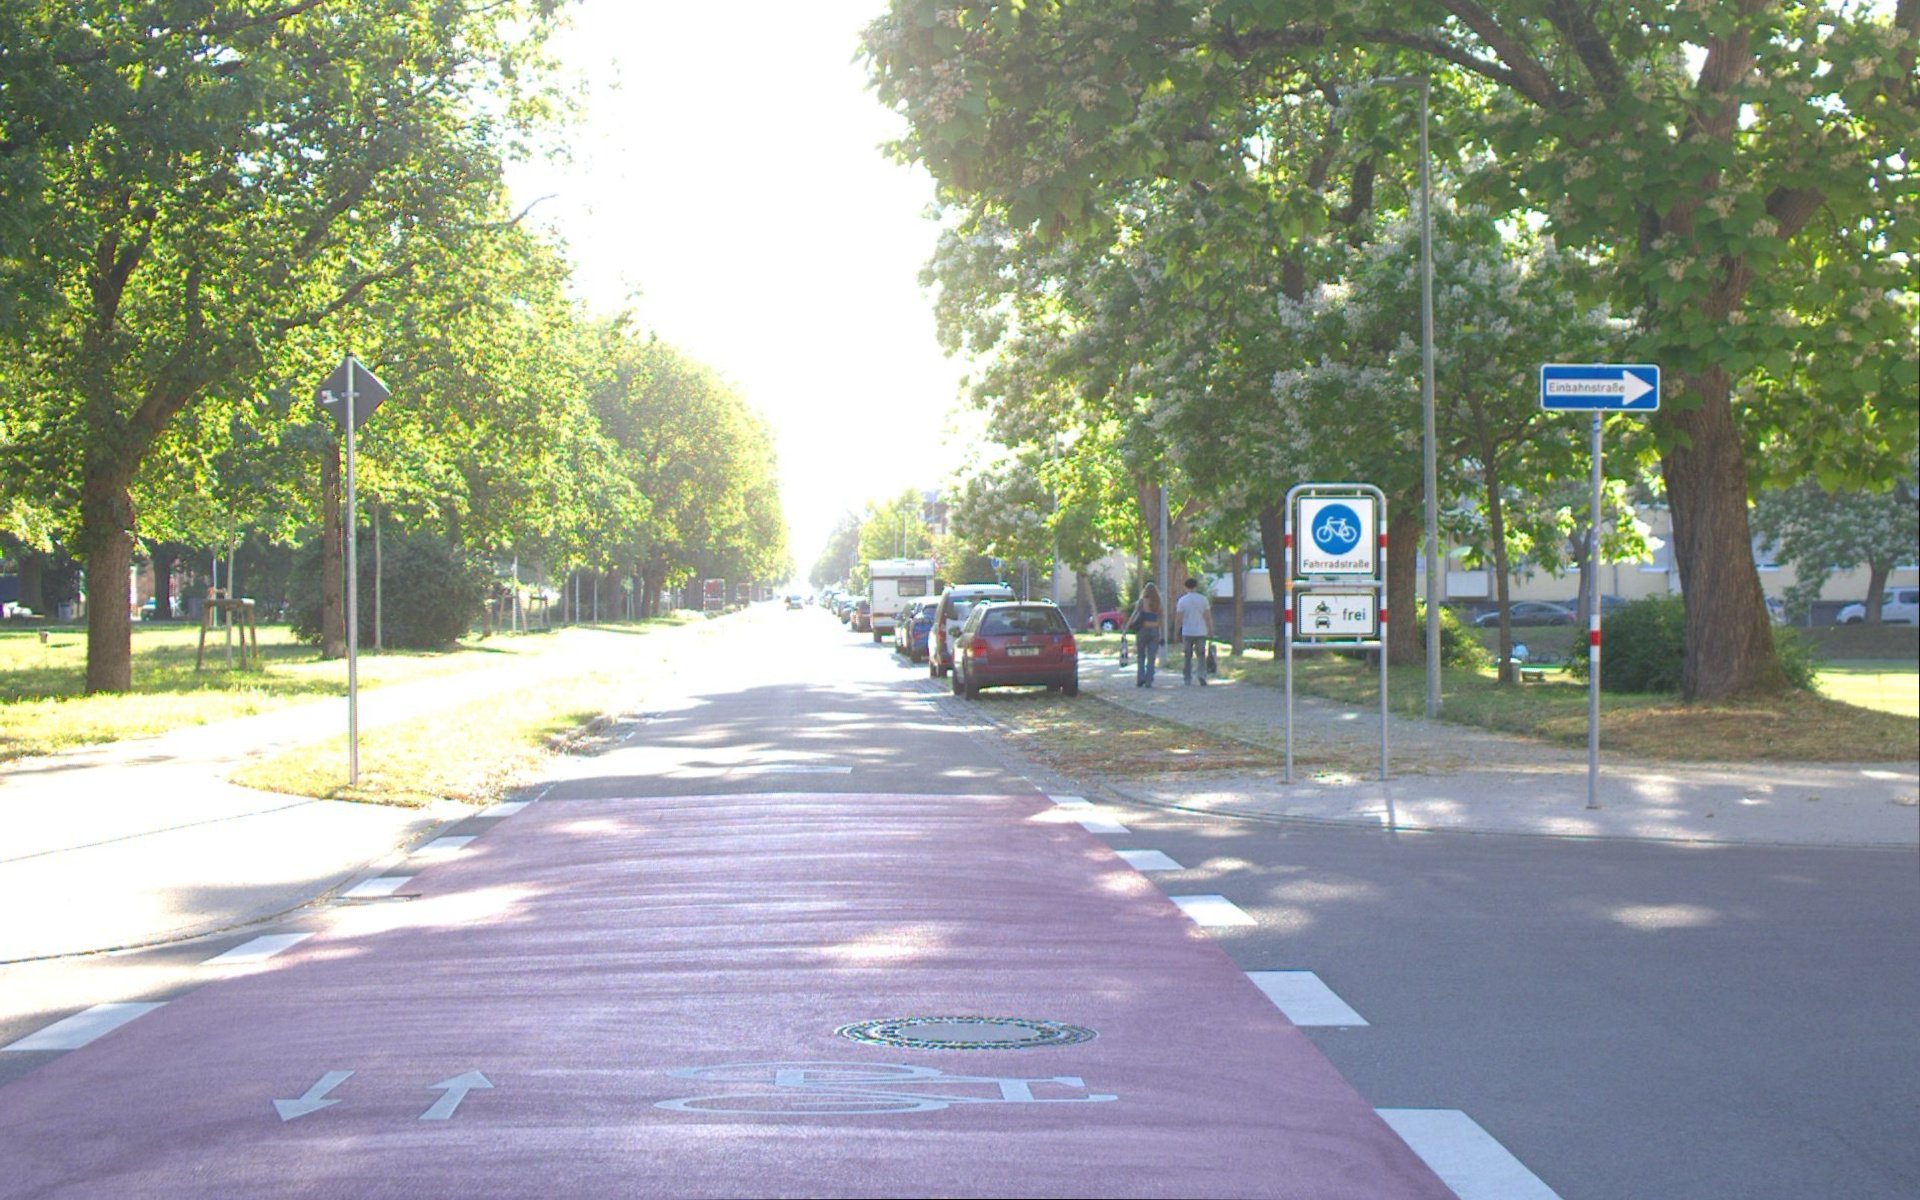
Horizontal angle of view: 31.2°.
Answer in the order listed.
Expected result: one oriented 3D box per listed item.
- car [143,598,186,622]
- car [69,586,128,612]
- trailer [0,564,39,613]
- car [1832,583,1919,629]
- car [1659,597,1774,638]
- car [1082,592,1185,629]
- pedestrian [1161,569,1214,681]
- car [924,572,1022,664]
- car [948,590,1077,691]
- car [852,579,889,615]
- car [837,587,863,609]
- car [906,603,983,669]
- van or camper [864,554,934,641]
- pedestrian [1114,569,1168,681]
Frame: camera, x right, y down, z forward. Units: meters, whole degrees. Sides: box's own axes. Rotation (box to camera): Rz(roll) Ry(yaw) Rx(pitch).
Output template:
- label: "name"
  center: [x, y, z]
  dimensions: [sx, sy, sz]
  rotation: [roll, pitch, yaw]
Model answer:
- label: "car"
  center: [-51.818, 0.662, 223.978]
  dimensions: [1.993, 1.503, 4.115]
  rotation: [0, 0, -2]
- label: "car"
  center: [-52.701, -0.057, 210.432]
  dimensions: [2.507, 1.503, 4.913]
  rotation: [0, 0, -2]
- label: "trailer"
  center: [-50.282, -0.568, 179.902]
  dimensions: [2.459, 2.480, 7.050]
  rotation: [0, 0, -2]
- label: "car"
  center: [36.295, 0.240, 133.172]
  dimensions: [4.519, 1.740, 1.877]
  rotation: [0, -1, 33]
- label: "car"
  center: [28.723, 0.667, 130.537]
  dimensions: [3.992, 1.547, 1.608]
  rotation: [0, 0, 25]
- label: "car"
  center: [7.169, 0.434, 142.380]
  dimensions: [4.195, 1.525, 2.000]
  rotation: [0, 0, 2]
- label: "pedestrian"
  center: [3.562, 0.390, 53.890]
  dimensions: [0.725, 1.730, 0.732]
  rotation: [1, 0, -2]
- label: "car"
  center: [0.223, 0.358, 67.236]
  dimensions: [1.678, 1.734, 4.514]
  rotation: [0, 0, -3]
- label: "car"
  center: [0.769, 0.615, 53.316]
  dimensions: [1.678, 1.481, 4.810]
  rotation: [0, 0, -3]
- label: "car"
  center: [-4.212, -0.139, 161.418]
  dimensions: [1.626, 1.663, 4.249]
  rotation: [0, 0, -3]
- label: "car"
  center: [-7.230, -0.124, 226.304]
  dimensions: [1.626, 1.405, 4.249]
  rotation: [0, 0, -3]
- label: "car"
  center: [-0.395, 0.852, 82.641]
  dimensions: [1.731, 1.545, 4.275]
  rotation: [0, 0, -2]
- label: "van or camper"
  center: [-2.159, -0.046, 120.247]
  dimensions: [2.234, 2.894, 5.673]
  rotation: [0, -1, -3]
- label: "pedestrian"
  center: [2.838, 0.393, 53.861]
  dimensions: [0.753, 1.730, 0.732]
  rotation: [1, 0, -2]
